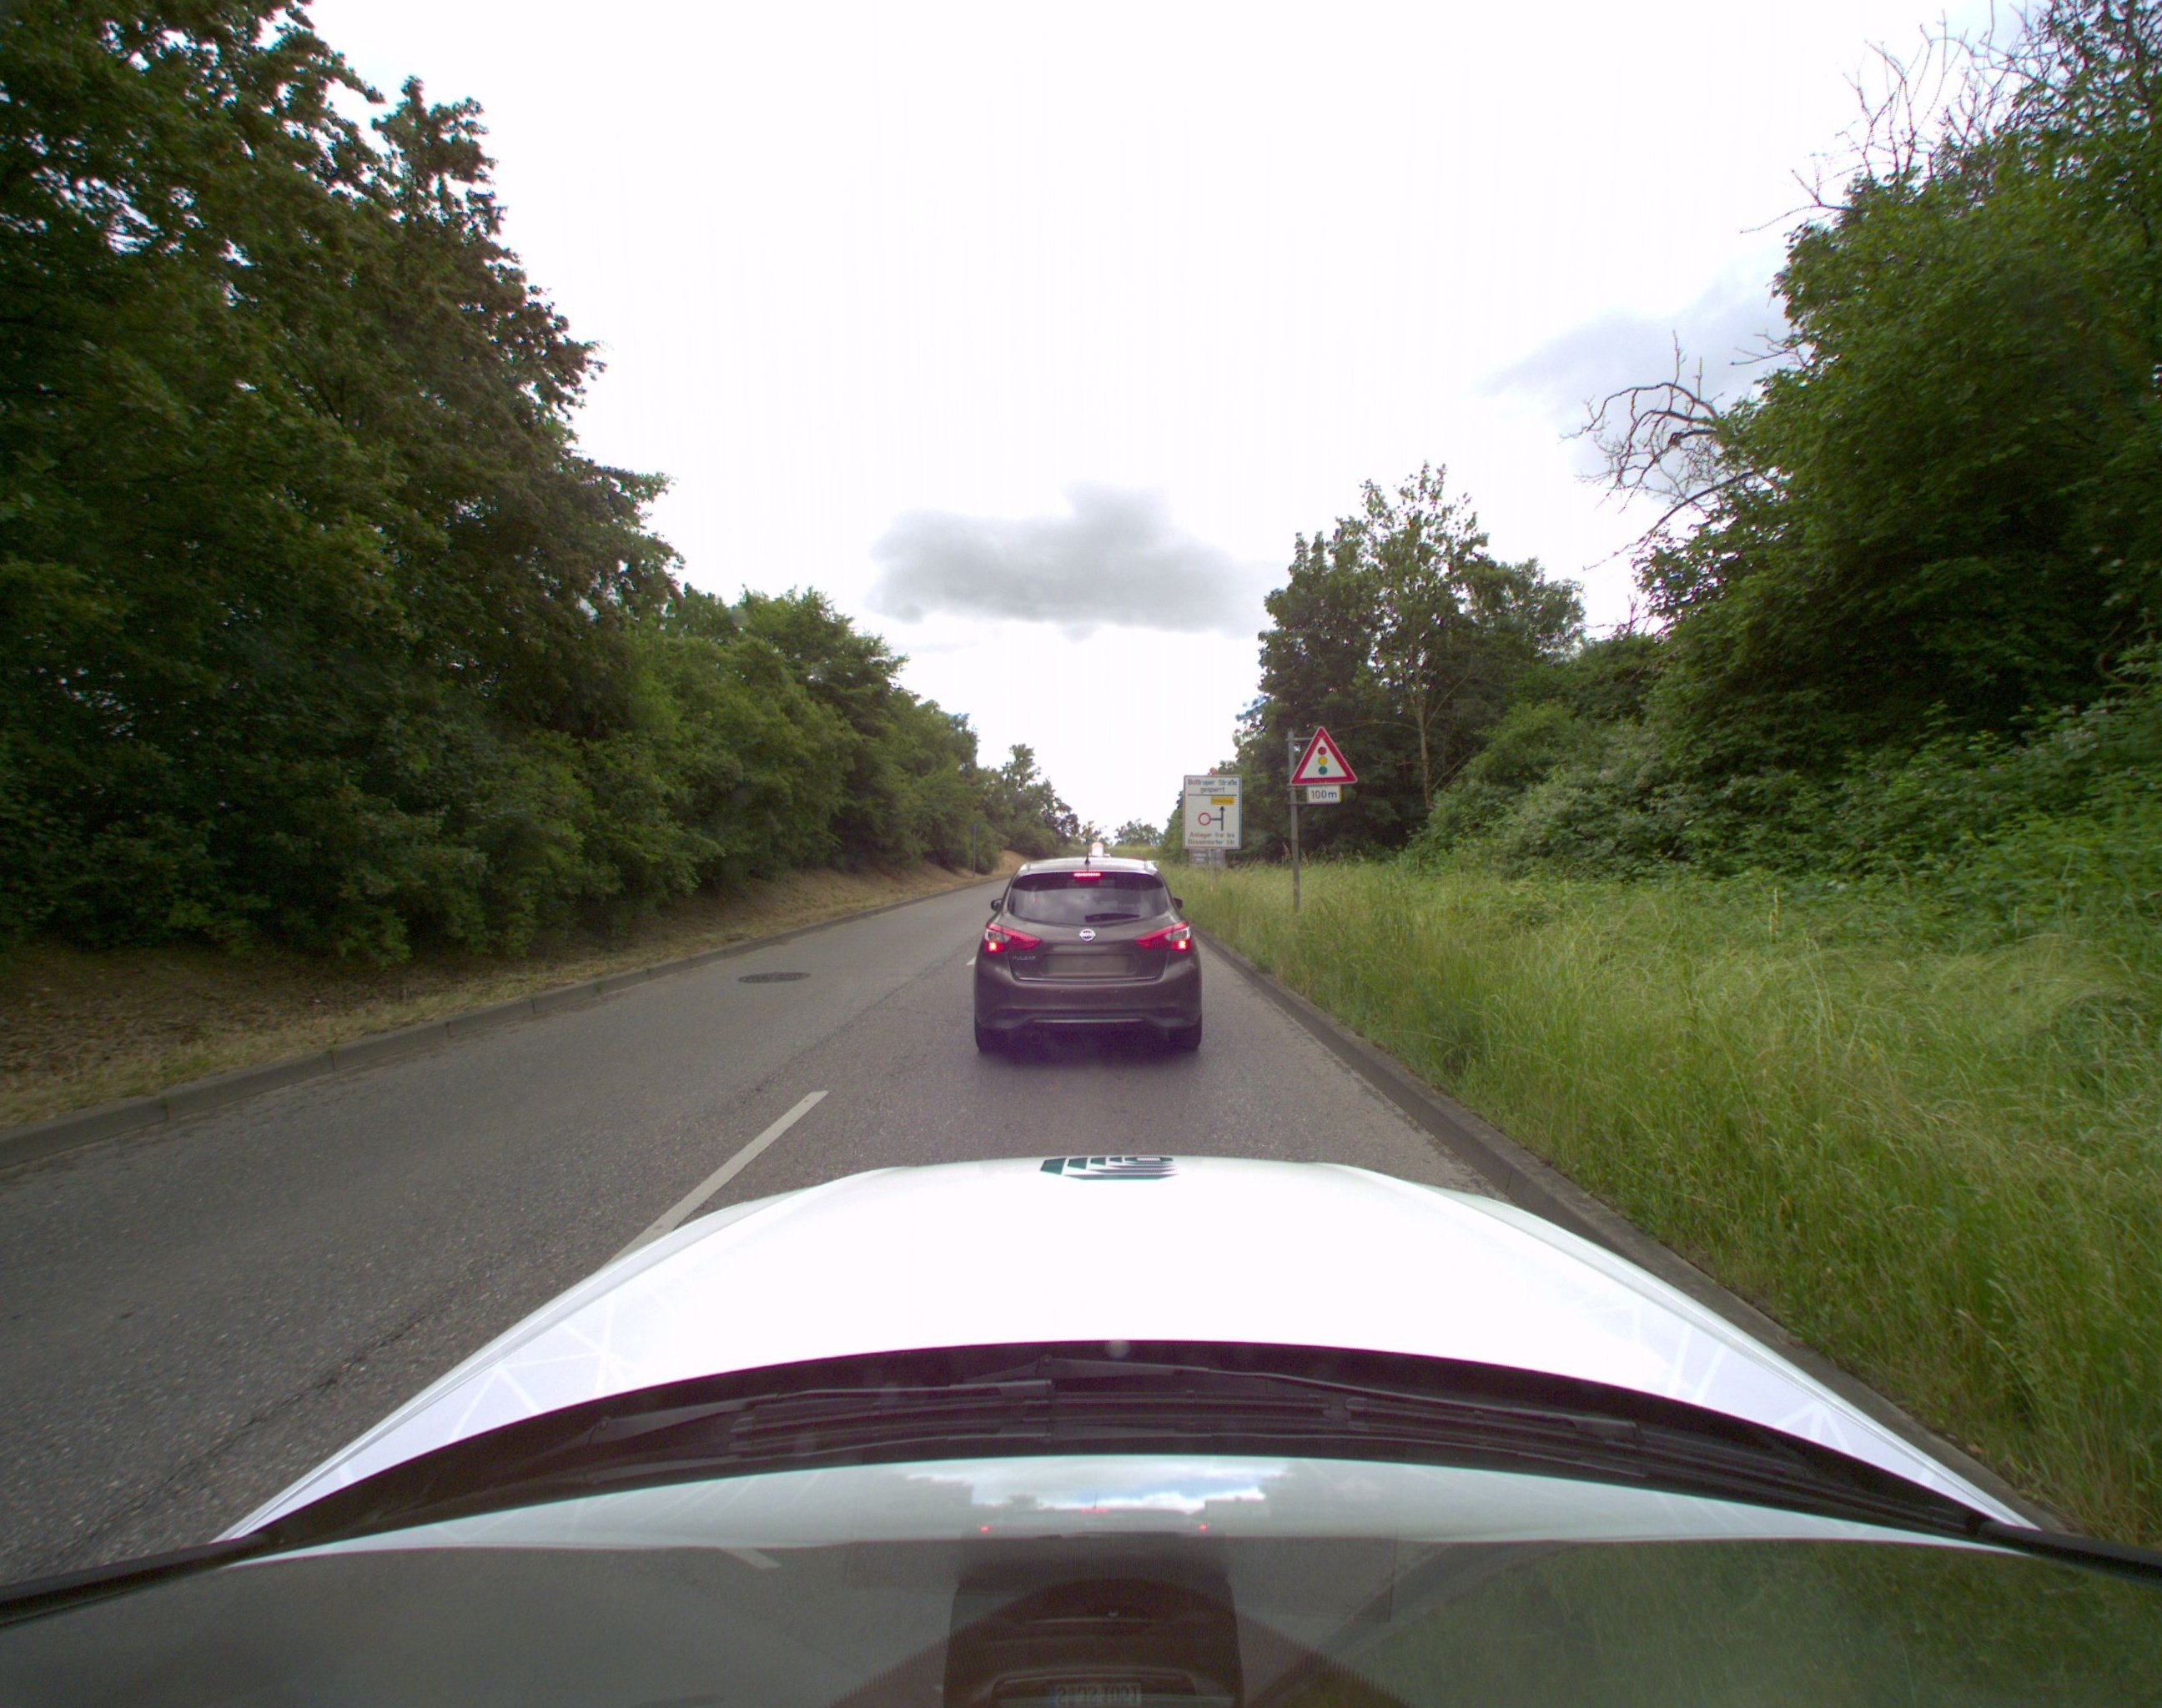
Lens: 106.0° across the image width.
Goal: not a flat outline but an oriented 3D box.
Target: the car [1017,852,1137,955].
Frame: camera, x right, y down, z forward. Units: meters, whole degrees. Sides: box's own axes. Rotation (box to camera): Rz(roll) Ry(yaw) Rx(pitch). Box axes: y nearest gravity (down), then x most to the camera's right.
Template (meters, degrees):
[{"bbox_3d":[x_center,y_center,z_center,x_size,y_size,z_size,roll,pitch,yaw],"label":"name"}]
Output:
[{"bbox_3d":[0.001,0.764,14.427,1.823,1.556,3.626,-1,0,2],"label":"car"}]

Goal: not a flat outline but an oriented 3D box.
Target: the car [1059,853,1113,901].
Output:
[{"bbox_3d":[0.232,0.755,28.811,1.729,1.556,3.545,-1,0,2],"label":"car"}]

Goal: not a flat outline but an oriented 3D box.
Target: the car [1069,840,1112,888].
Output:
[{"bbox_3d":[0.427,0.419,35.829,1.730,1.935,3.544,-1,0,1],"label":"car"}]

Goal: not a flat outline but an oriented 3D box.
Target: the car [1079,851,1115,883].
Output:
[{"bbox_3d":[0.797,0.629,41.802,1.730,1.526,3.543,-1,0,0],"label":"car"}]

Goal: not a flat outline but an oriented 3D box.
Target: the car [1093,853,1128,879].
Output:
[{"bbox_3d":[1.896,0.733,51.801,1.726,1.526,3.650,-2,0,9],"label":"car"}]

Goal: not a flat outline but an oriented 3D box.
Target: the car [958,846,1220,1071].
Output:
[{"bbox_3d":[0.065,0.733,7.481,1.824,1.556,3.499,-1,0,0],"label":"car"}]

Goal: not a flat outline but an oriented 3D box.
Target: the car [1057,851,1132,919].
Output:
[{"bbox_3d":[0.391,0.726,21.019,1.729,1.556,3.545,-1,0,2],"label":"car"}]

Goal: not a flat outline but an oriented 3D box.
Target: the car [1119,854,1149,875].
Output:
[{"bbox_3d":[4.175,0.811,63.904,1.724,1.526,3.654,-2,0,13],"label":"car"}]
